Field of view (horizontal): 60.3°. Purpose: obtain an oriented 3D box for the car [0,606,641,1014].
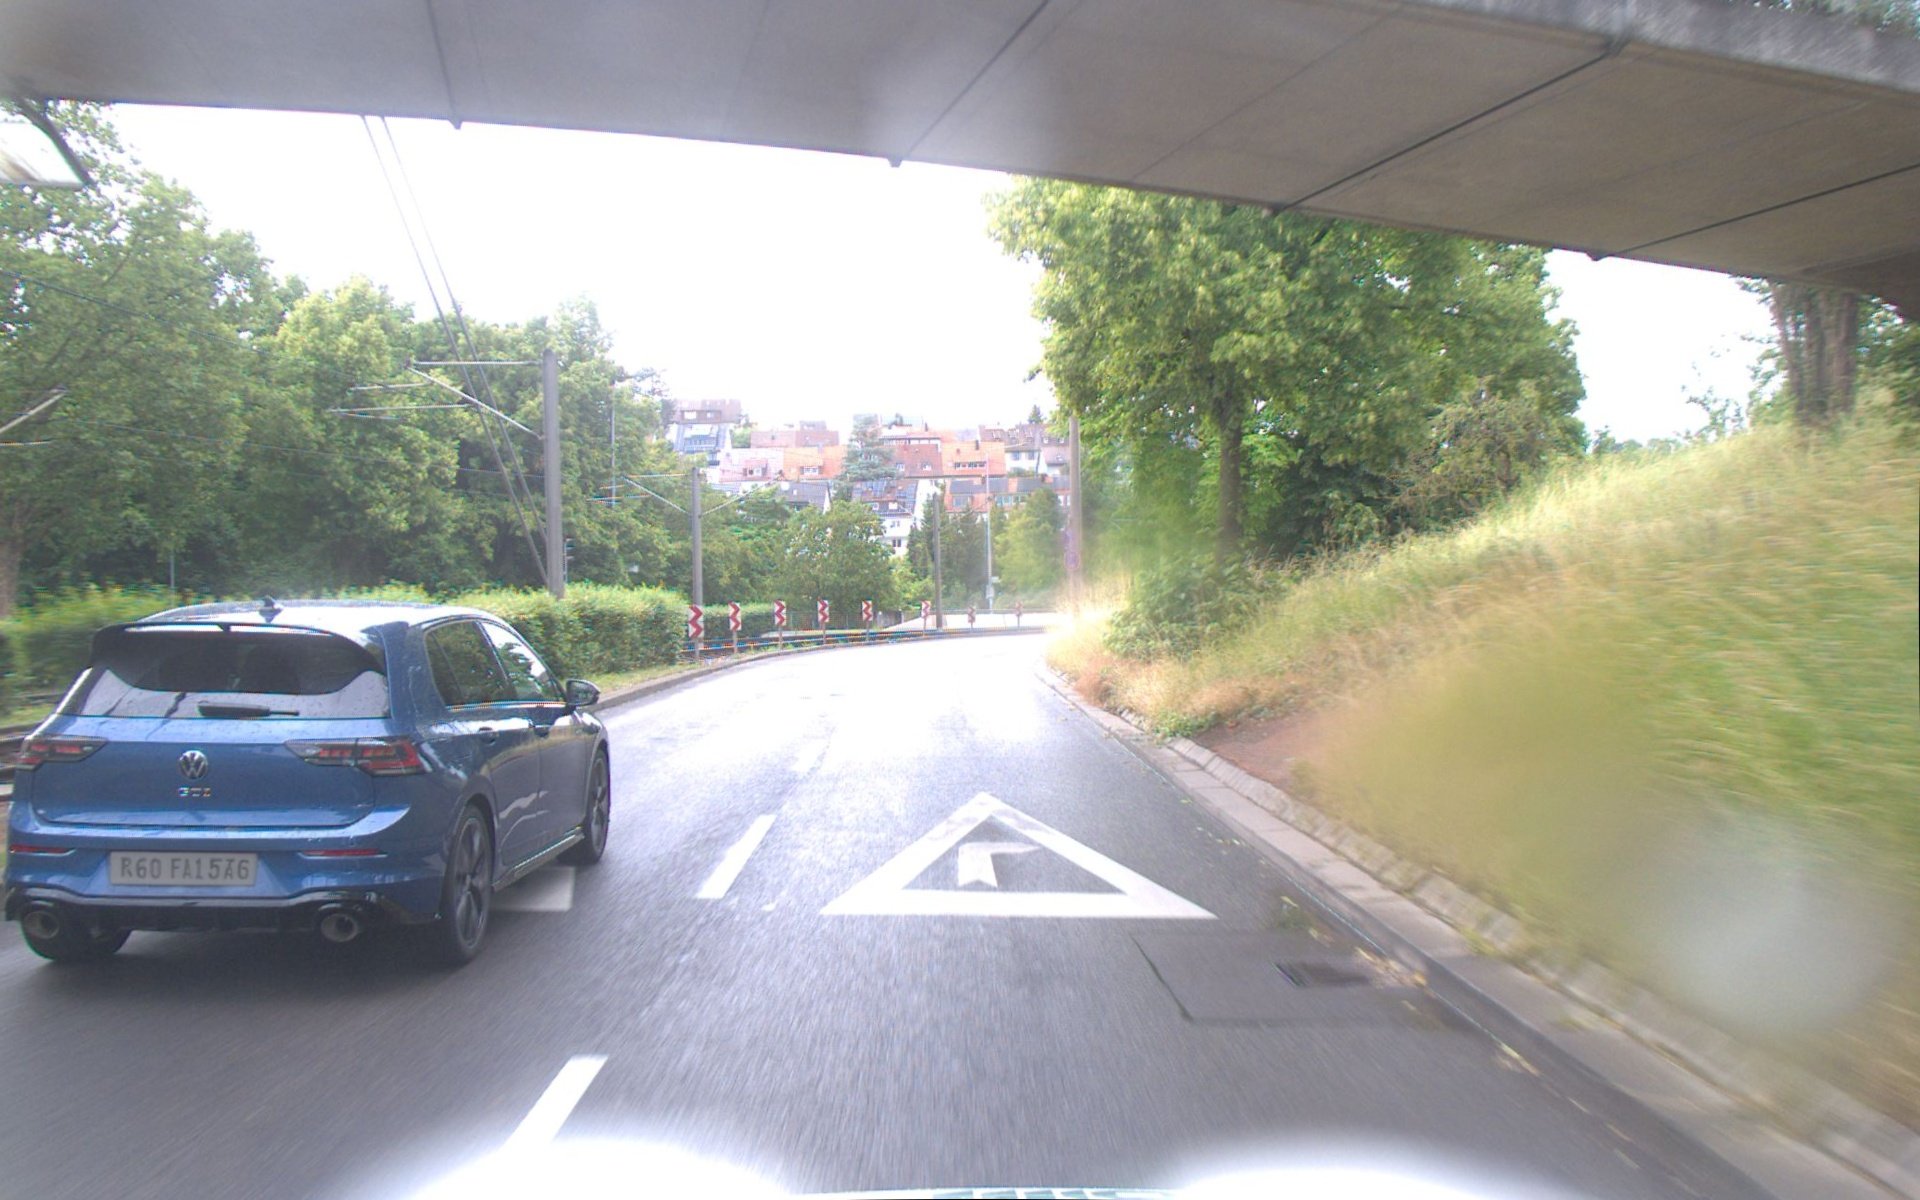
[{"bbox_3d":[-2.816,0.738,7.925,1.771,1.402,4.346,0,0,-1],"label":"car"}]
